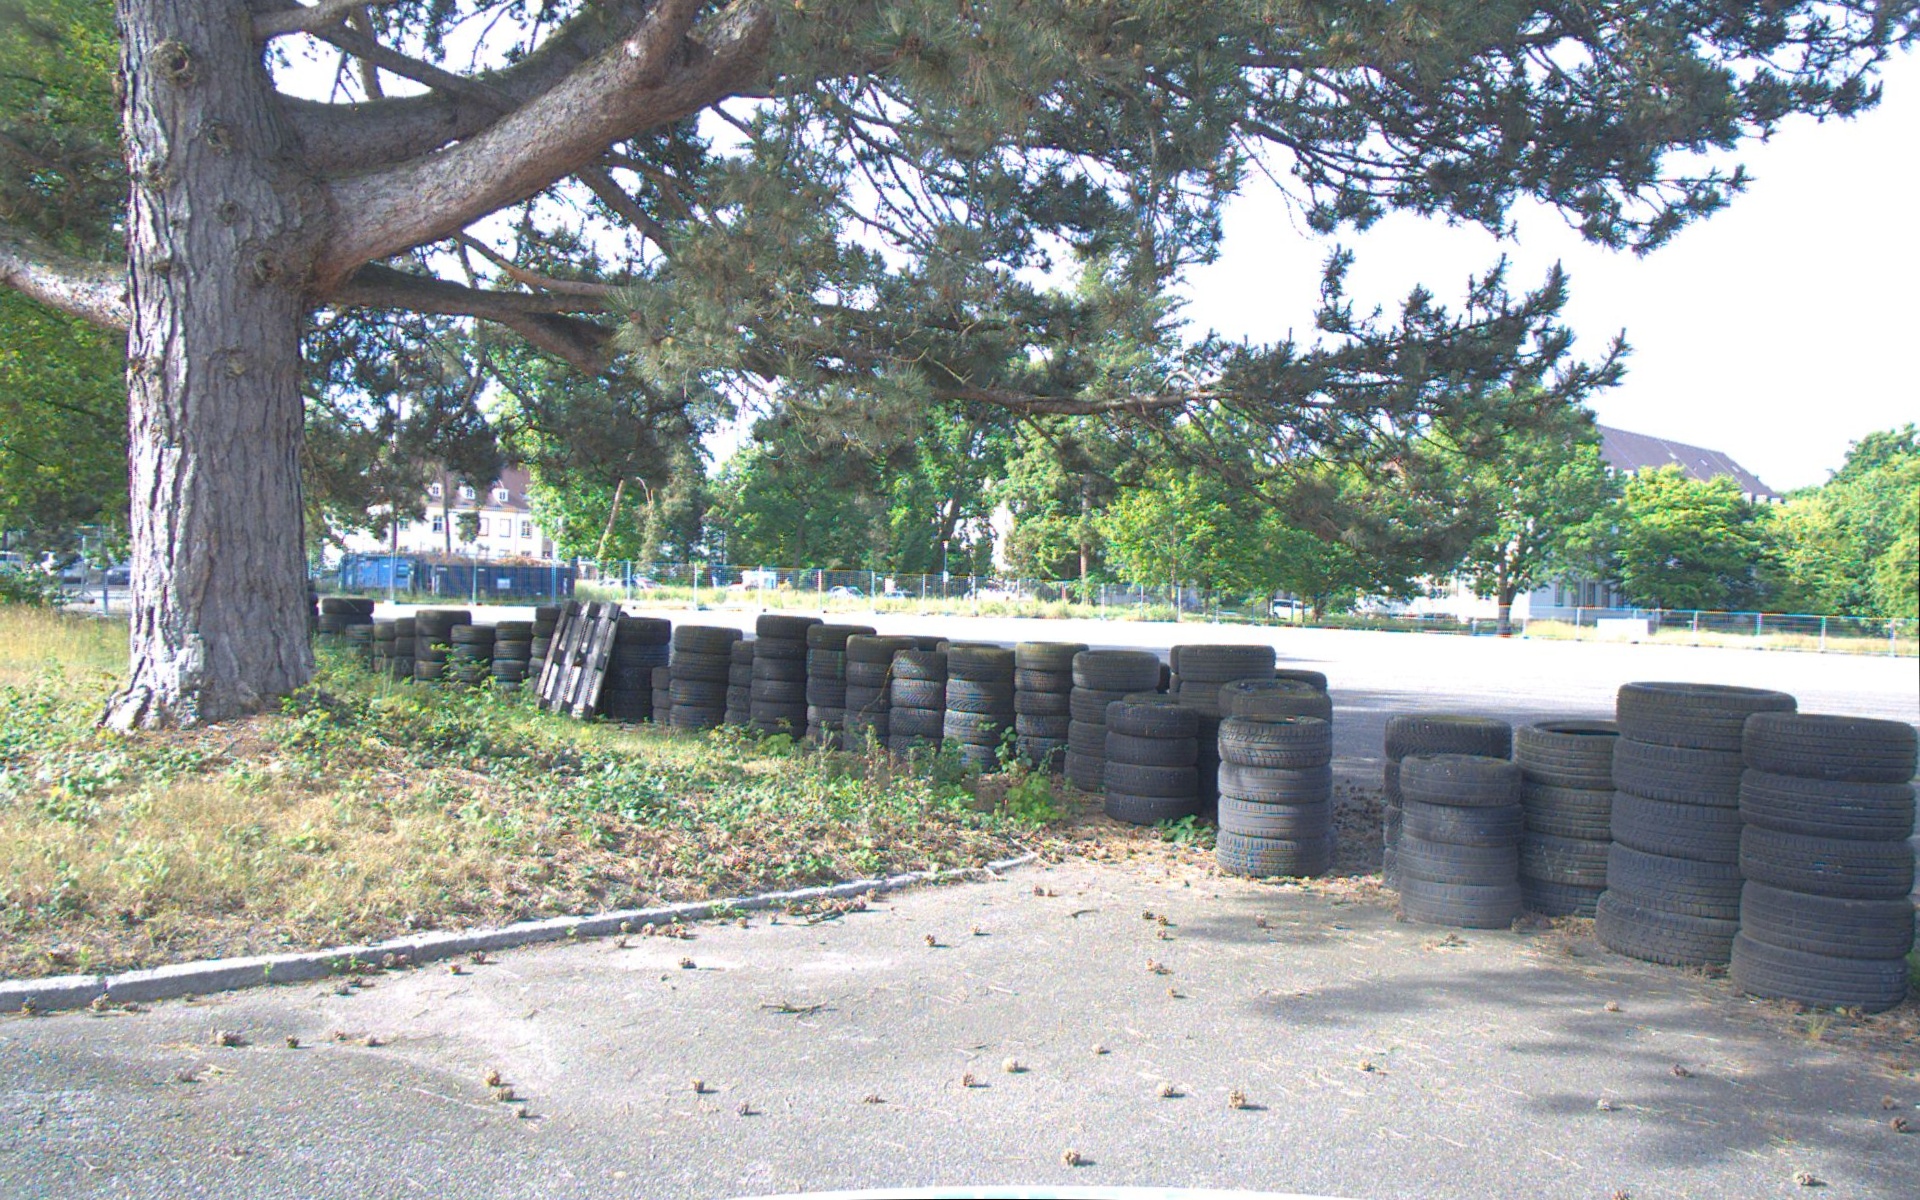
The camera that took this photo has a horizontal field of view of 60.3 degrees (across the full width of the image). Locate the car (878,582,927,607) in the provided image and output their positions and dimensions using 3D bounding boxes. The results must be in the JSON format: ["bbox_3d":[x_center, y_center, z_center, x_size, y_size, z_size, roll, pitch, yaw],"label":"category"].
[{"bbox_3d":[-4.463,-0.432,127.688,1.976,1.780,3.954,2,0,-33],"label":"car"}]

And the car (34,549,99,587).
[{"bbox_3d":[-41.309,-1.476,76.423,1.811,1.646,3.940,1,1,-41],"label":"car"}]

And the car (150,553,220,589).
[{"bbox_3d":[-37.804,-1.424,80.643,1.984,1.646,3.937,1,1,-43],"label":"car"}]

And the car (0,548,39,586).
[{"bbox_3d":[-43.060,-1.524,74.365,1.984,1.646,3.937,1,1,-43],"label":"car"}]

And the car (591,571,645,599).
[{"bbox_3d":[-22.795,-1.008,110.216,1.980,1.780,3.945,2,0,-38],"label":"car"}]

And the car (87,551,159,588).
[{"bbox_3d":[-39.693,-1.466,78.387,1.984,1.646,3.937,1,1,-43],"label":"car"}]

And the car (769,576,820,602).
[{"bbox_3d":[-12.059,-0.822,120.553,1.978,1.780,3.949,2,0,-36],"label":"car"}]
